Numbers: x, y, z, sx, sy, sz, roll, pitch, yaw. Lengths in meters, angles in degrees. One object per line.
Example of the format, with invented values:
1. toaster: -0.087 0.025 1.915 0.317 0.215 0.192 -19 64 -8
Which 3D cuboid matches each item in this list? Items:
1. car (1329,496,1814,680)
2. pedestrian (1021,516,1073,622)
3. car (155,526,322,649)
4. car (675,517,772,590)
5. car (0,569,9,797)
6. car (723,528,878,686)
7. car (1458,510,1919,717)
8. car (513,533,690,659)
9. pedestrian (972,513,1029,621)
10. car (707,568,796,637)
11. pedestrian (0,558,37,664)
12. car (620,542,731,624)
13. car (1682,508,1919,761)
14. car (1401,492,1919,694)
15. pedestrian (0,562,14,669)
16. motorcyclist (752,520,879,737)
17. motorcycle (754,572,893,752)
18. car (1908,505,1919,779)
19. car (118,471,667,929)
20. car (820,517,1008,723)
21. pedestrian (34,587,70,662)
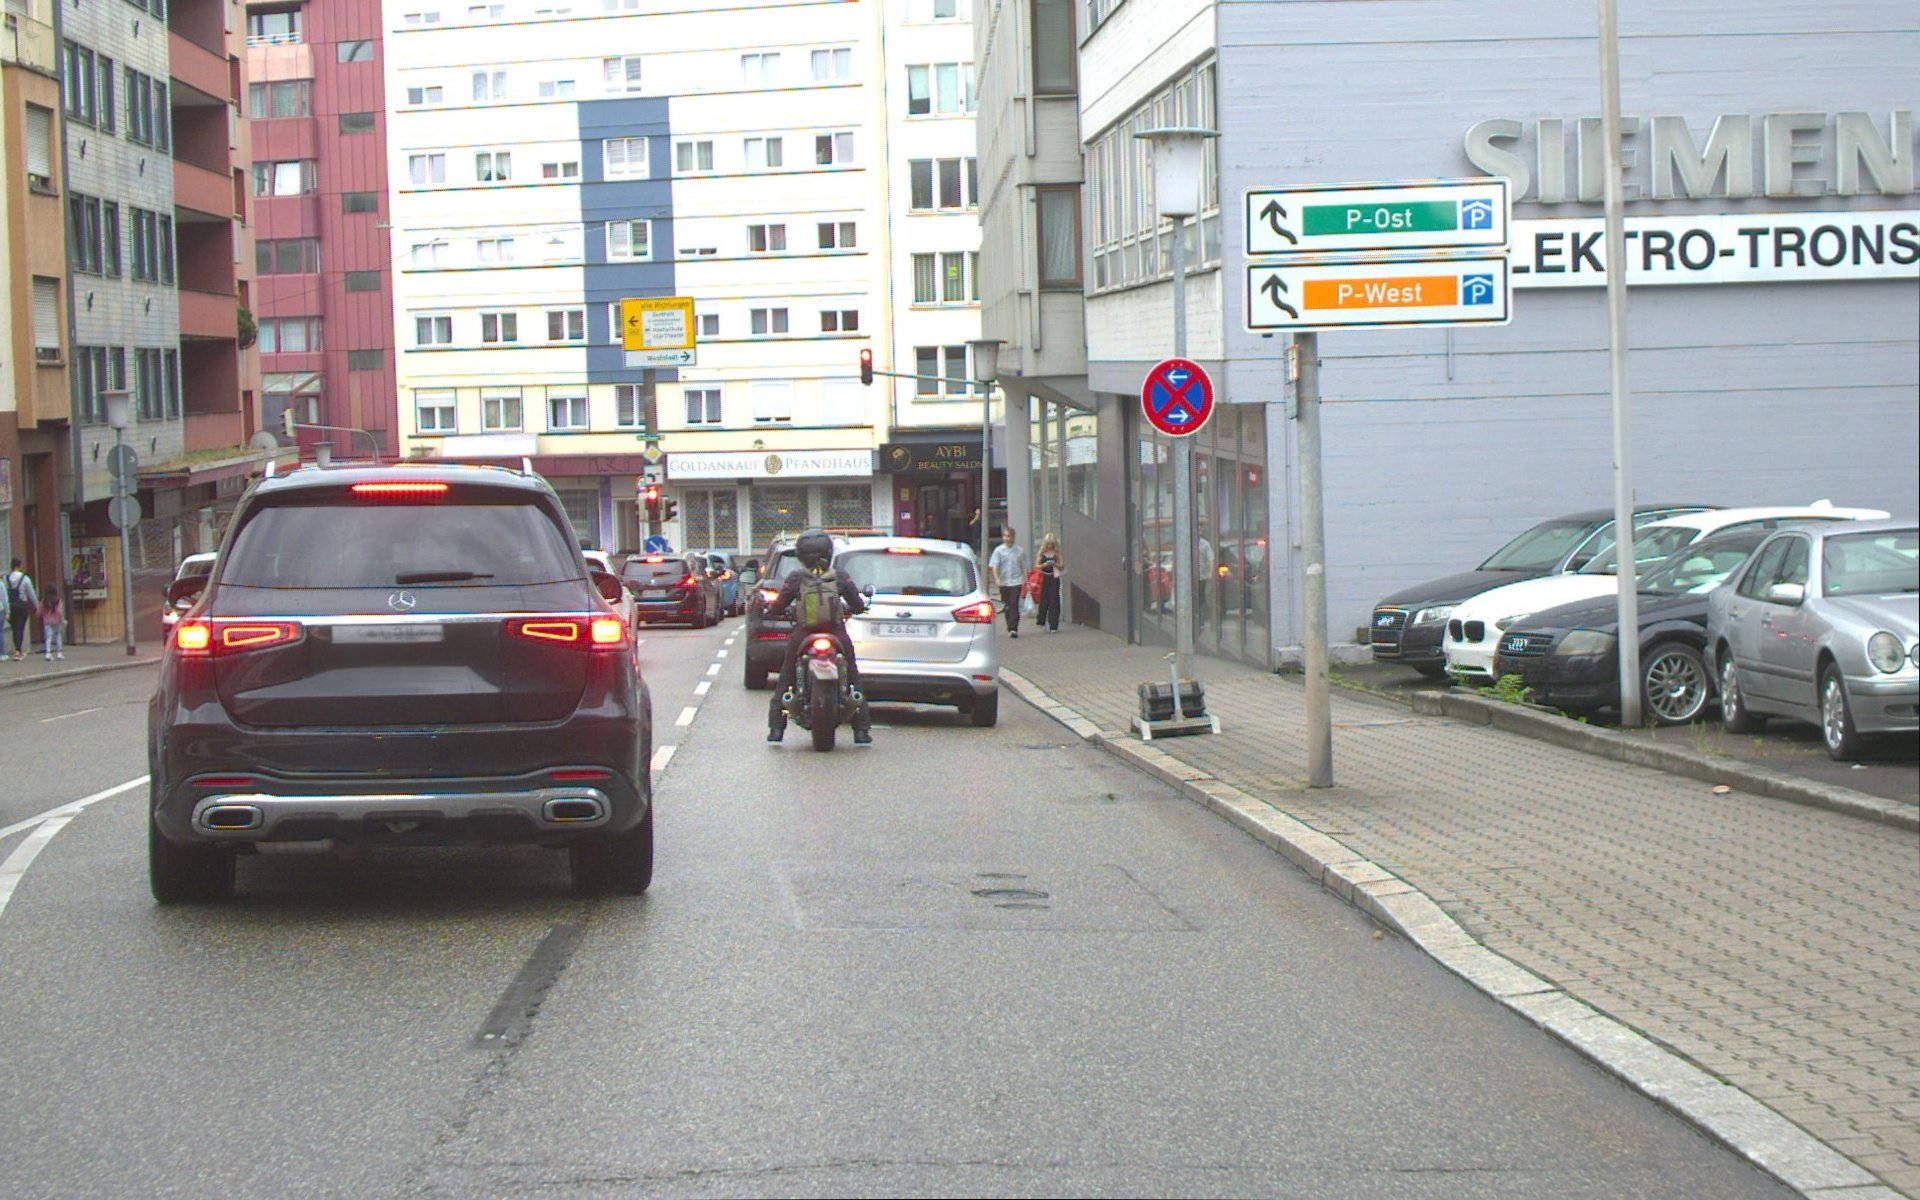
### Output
1. car: 5.552 -0.095 31.255 3.986 1.592 1.800 0 0 -21
2. pedestrian: 1.338 -0.483 53.055 0.717 1.606 0.611 -1 3 -5
3. car: -11.347 -0.243 54.319 1.869 1.747 4.400 -3 1 -3
4. car: -5.021 -1.011 73.455 1.885 1.497 4.399 0 1 -1
5. car: -6.186 0.547 18.029 1.714 1.313 4.145 -2 2 -7
6. car: -1.721 0.035 36.329 1.522 1.543 3.108 -1 2 -4
7. car: 5.979 0.102 26.166 3.986 1.489 1.733 0 0 -21
8. car: -4.484 -0.091 43.548 1.885 1.497 4.399 0 1 -1
9. pedestrian: 0.611 -0.505 52.192 0.769 1.606 0.704 -1 3 -5
10. car: -4.769 0.034 79.263 1.885 1.497 4.399 0 1 -1
11. pedestrian: -15.329 0.181 55.536 0.671 1.646 0.606 -1 5 -5
12. car: -5.488 -0.354 66.792 1.885 1.497 4.399 0 1 -1
13. car: 5.914 0.156 22.020 1.565 1.472 4.070 0 1 -2
14. car: 5.876 -0.048 28.675 3.986 1.592 1.800 0 0 -21
15. pedestrian: -15.501 0.250 54.633 0.739 1.646 0.606 -1 5 -5
16. motorcyclist: -1.063 0.205 25.177 0.866 1.555 0.764 -1 0 -5
17. motorcycle: -1.024 0.418 25.126 0.867 1.182 2.562 -1 2 -5
18. car: 6.073 0.272 16.416 1.797 1.472 4.485 0 1 -1
19. car: -2.360 0.338 15.465 2.020 1.733 4.748 1 1 -4
20. car: -0.437 0.126 29.762 1.416 1.645 3.108 -1 2 -4
21. pedestrian: -14.713 0.400 55.723 0.425 1.158 0.587 -1 5 -5
